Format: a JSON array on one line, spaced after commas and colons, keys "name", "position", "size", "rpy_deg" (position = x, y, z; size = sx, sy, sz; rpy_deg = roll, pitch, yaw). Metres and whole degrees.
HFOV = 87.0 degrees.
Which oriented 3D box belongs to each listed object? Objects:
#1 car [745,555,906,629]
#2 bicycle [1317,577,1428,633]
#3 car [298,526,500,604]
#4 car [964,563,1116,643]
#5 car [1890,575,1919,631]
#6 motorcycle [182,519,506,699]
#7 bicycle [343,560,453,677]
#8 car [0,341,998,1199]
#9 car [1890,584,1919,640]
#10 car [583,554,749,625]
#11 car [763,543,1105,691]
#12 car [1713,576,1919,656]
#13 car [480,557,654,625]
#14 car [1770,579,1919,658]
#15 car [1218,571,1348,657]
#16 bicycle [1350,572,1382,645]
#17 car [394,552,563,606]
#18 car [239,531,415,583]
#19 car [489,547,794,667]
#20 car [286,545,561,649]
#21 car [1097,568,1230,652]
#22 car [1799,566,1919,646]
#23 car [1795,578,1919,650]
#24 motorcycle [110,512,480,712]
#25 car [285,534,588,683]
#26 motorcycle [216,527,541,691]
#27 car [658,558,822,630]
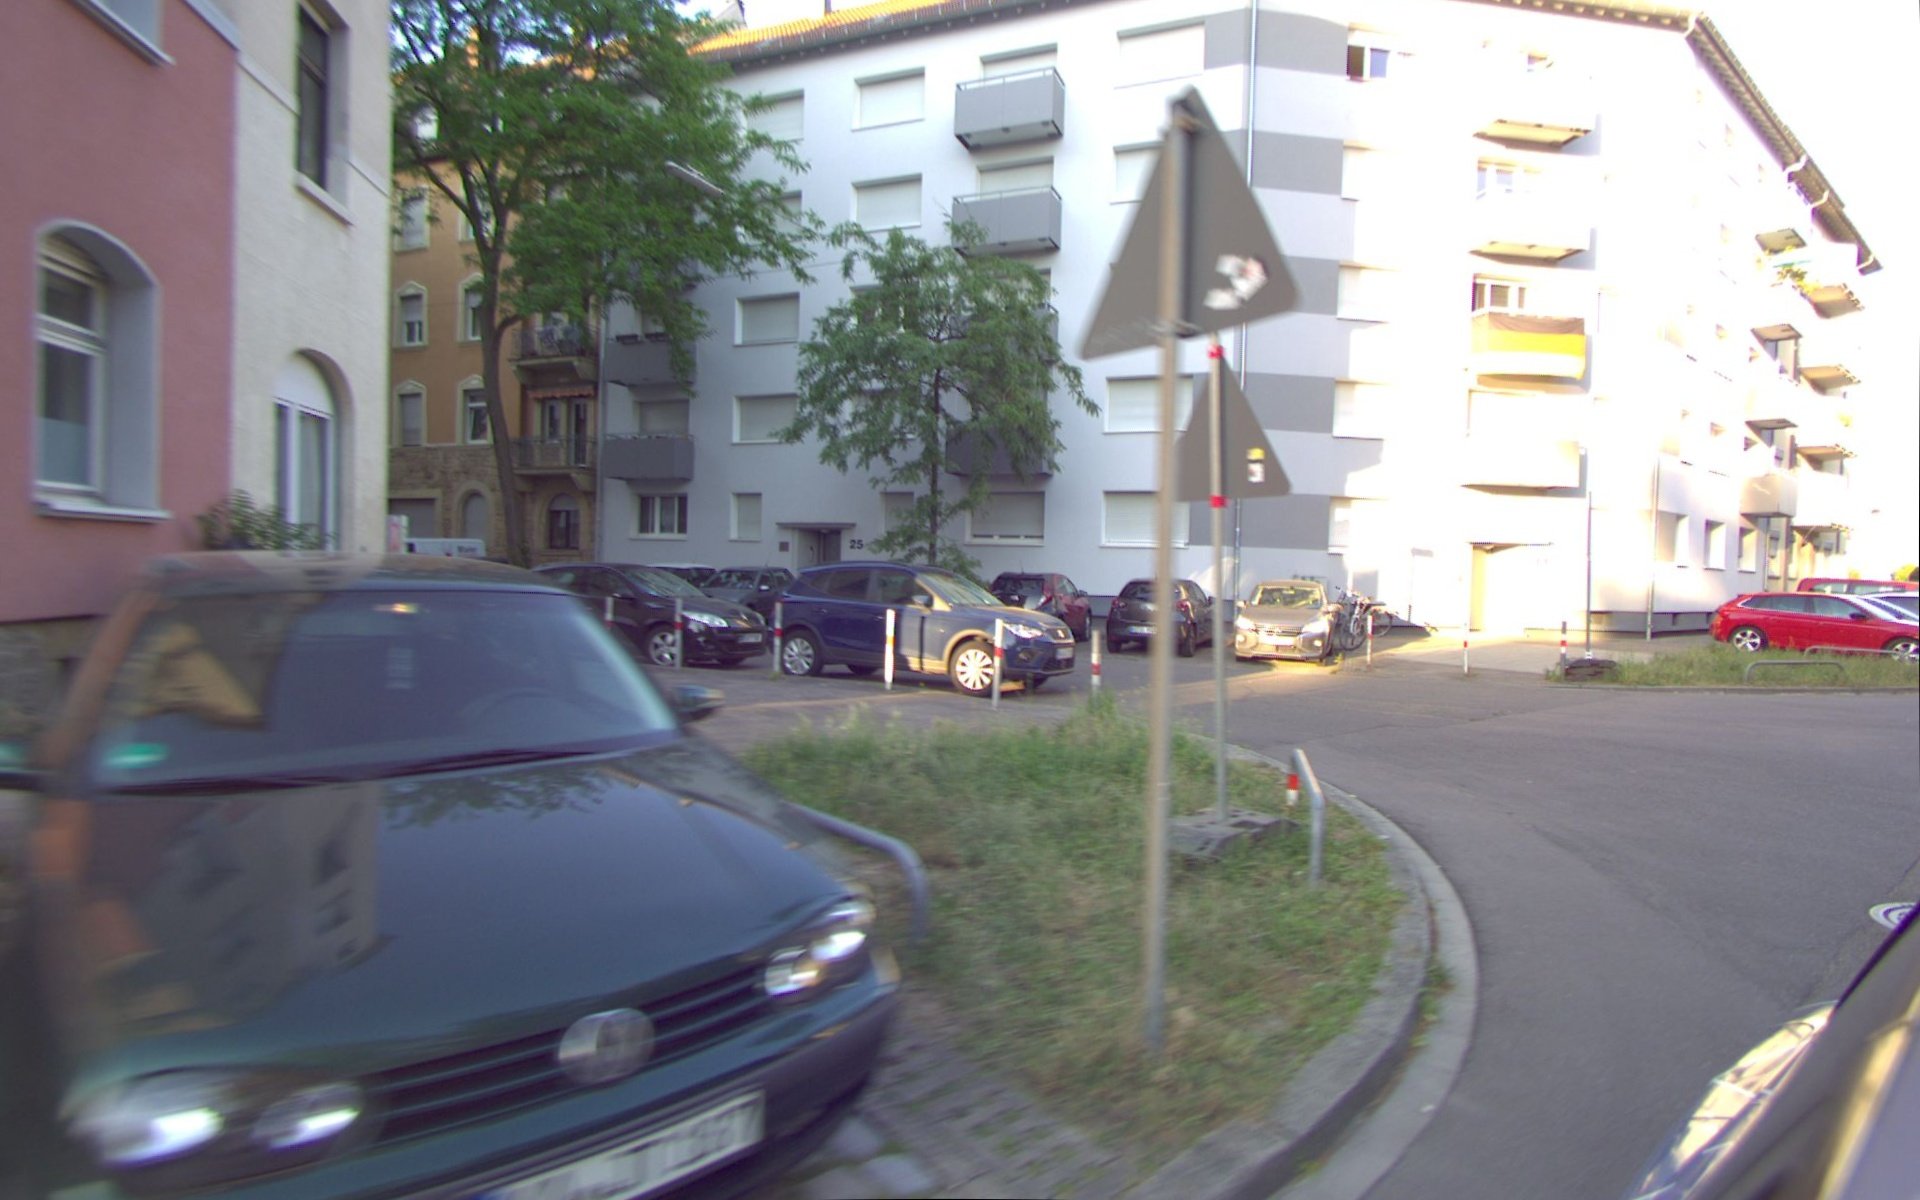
[{"name": "car", "position": [-2.979, -0.225, 23.344], "size": [1.977, 1.535, 3.971], "rpy_deg": [2, 2, 22]}, {"name": "bicycle", "position": [9.798, 0.117, 24.032], "size": [2.403, 1.289, 0.699], "rpy_deg": [1, 1, -9]}, {"name": "car", "position": [-16.058, -0.990, 29.327], "size": [2.162, 2.038, 4.959], "rpy_deg": [2, 2, 20]}, {"name": "car", "position": [1.800, 0.009, 21.359], "size": [1.979, 1.482, 3.967], "rpy_deg": [2, 2, 24]}, {"name": "car", "position": [36.215, 0.172, 35.920], "size": [1.963, 1.992, 4.431], "rpy_deg": [0, 2, -37]}, {"name": "motorcycle", "position": [-5.288, 0.073, 8.805], "size": [2.306, 1.452, 0.745], "rpy_deg": [1, 1, -5]}, {"name": "bicycle", "position": [-6.760, 0.182, 12.266], "size": [0.671, 1.297, 1.909], "rpy_deg": [1, 1, -14]}, {"name": "car", "position": [-1.966, 0.404, 3.353], "size": [1.823, 1.605, 4.108], "rpy_deg": [0, 2, -42]}, {"name": "car", "position": [31.546, 0.430, 31.128], "size": [1.963, 1.705, 4.000], "rpy_deg": [0, 2, -36]}, {"name": "car", "position": [-7.262, -0.290, 25.406], "size": [1.977, 1.604, 3.971], "rpy_deg": [2, 2, 22]}, {"name": "car", "position": [-0.356, 0.121, 12.844], "size": [3.963, 1.592, 1.812], "rpy_deg": [2, 2, 28]}, {"name": "car", "position": [19.246, 0.308, 21.968], "size": [1.888, 1.560, 4.312], "rpy_deg": [0, 2, -38]}, {"name": "car", "position": [-9.951, -0.265, 25.941], "size": [1.978, 1.549, 3.969], "rpy_deg": [2, 2, 23]}, {"name": "car", "position": [21.361, 0.402, 23.253], "size": [1.965, 1.682, 3.994], "rpy_deg": [0, 2, -41]}, {"name": "car", "position": [6.292, 0.192, 19.425], "size": [1.978, 1.438, 3.968], "rpy_deg": [2, 2, 23]}, {"name": "bicycle", "position": [8.283, 0.142, 20.702], "size": [0.510, 1.400, 2.488], "rpy_deg": [1, 1, 20]}, {"name": "car", "position": [-13.534, -0.605, 28.691], "size": [1.981, 1.415, 3.963], "rpy_deg": [2, 2, 27]}, {"name": "car", "position": [-18.657, -1.246, 30.021], "size": [1.977, 1.415, 4.077], "rpy_deg": [2, 2, 22]}, {"name": "car", "position": [-4.658, 0.037, 14.893], "size": [3.953, 1.524, 1.957], "rpy_deg": [2, 1, 22]}, {"name": "car", "position": [-8.952, -0.105, 16.937], "size": [3.951, 1.524, 1.960], "rpy_deg": [2, 1, 21]}, {"name": "car", "position": [4.255, 0.141, 20.690], "size": [1.827, 1.504, 3.967], "rpy_deg": [2, 2, 24]}, {"name": "car", "position": [25.363, 0.164, 26.659], "size": [1.964, 2.024, 4.686], "rpy_deg": [0, 2, -39]}, {"name": "car", "position": [23.194, 0.336, 24.796], "size": [1.754, 1.649, 3.994], "rpy_deg": [0, 2, -42]}, {"name": "motorcycle", "position": [-5.138, 0.089, 7.962], "size": [2.306, 1.452, 0.840], "rpy_deg": [1, 1, -5]}, {"name": "car", "position": [-5.464, 0.085, 10.720], "size": [2.721, 1.474, 0.847], "rpy_deg": [1, 1, -6]}, {"name": "motorcycle", "position": [-5.446, 0.082, 9.613], "size": [2.600, 1.452, 0.745], "rpy_deg": [1, 1, -5]}, {"name": "car", "position": [-5.197, -0.183, 24.444], "size": [1.977, 1.549, 3.971], "rpy_deg": [2, 2, 22]}]
